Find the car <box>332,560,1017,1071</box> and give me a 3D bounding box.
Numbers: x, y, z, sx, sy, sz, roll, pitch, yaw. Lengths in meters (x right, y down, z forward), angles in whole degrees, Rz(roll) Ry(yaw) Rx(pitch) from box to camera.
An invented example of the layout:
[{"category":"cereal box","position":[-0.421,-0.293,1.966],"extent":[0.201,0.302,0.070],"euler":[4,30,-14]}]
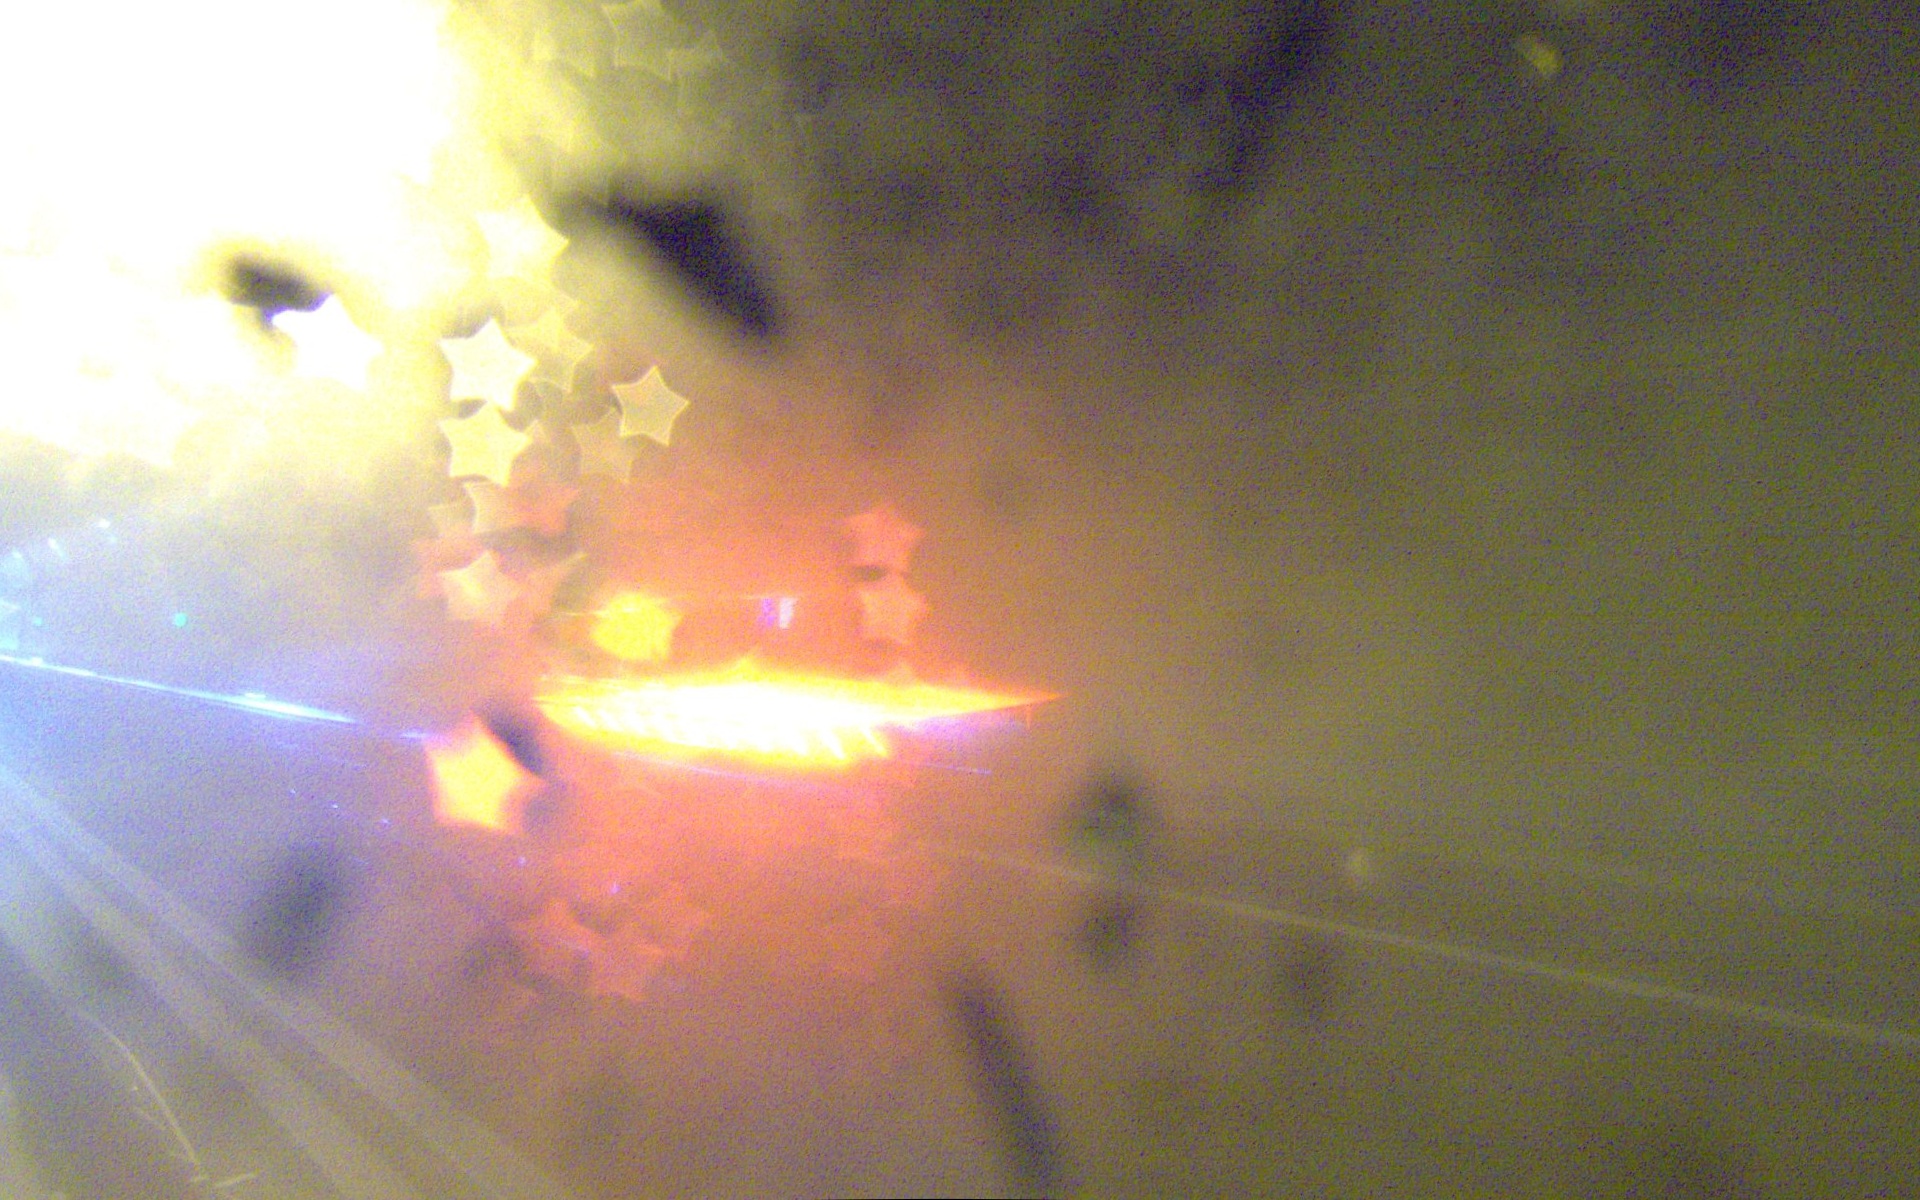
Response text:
[{"category":"car","position":[-1.662,0.734,5.096],"extent":[3.728,1.644,1.552],"euler":[-2,-1,41]}]
